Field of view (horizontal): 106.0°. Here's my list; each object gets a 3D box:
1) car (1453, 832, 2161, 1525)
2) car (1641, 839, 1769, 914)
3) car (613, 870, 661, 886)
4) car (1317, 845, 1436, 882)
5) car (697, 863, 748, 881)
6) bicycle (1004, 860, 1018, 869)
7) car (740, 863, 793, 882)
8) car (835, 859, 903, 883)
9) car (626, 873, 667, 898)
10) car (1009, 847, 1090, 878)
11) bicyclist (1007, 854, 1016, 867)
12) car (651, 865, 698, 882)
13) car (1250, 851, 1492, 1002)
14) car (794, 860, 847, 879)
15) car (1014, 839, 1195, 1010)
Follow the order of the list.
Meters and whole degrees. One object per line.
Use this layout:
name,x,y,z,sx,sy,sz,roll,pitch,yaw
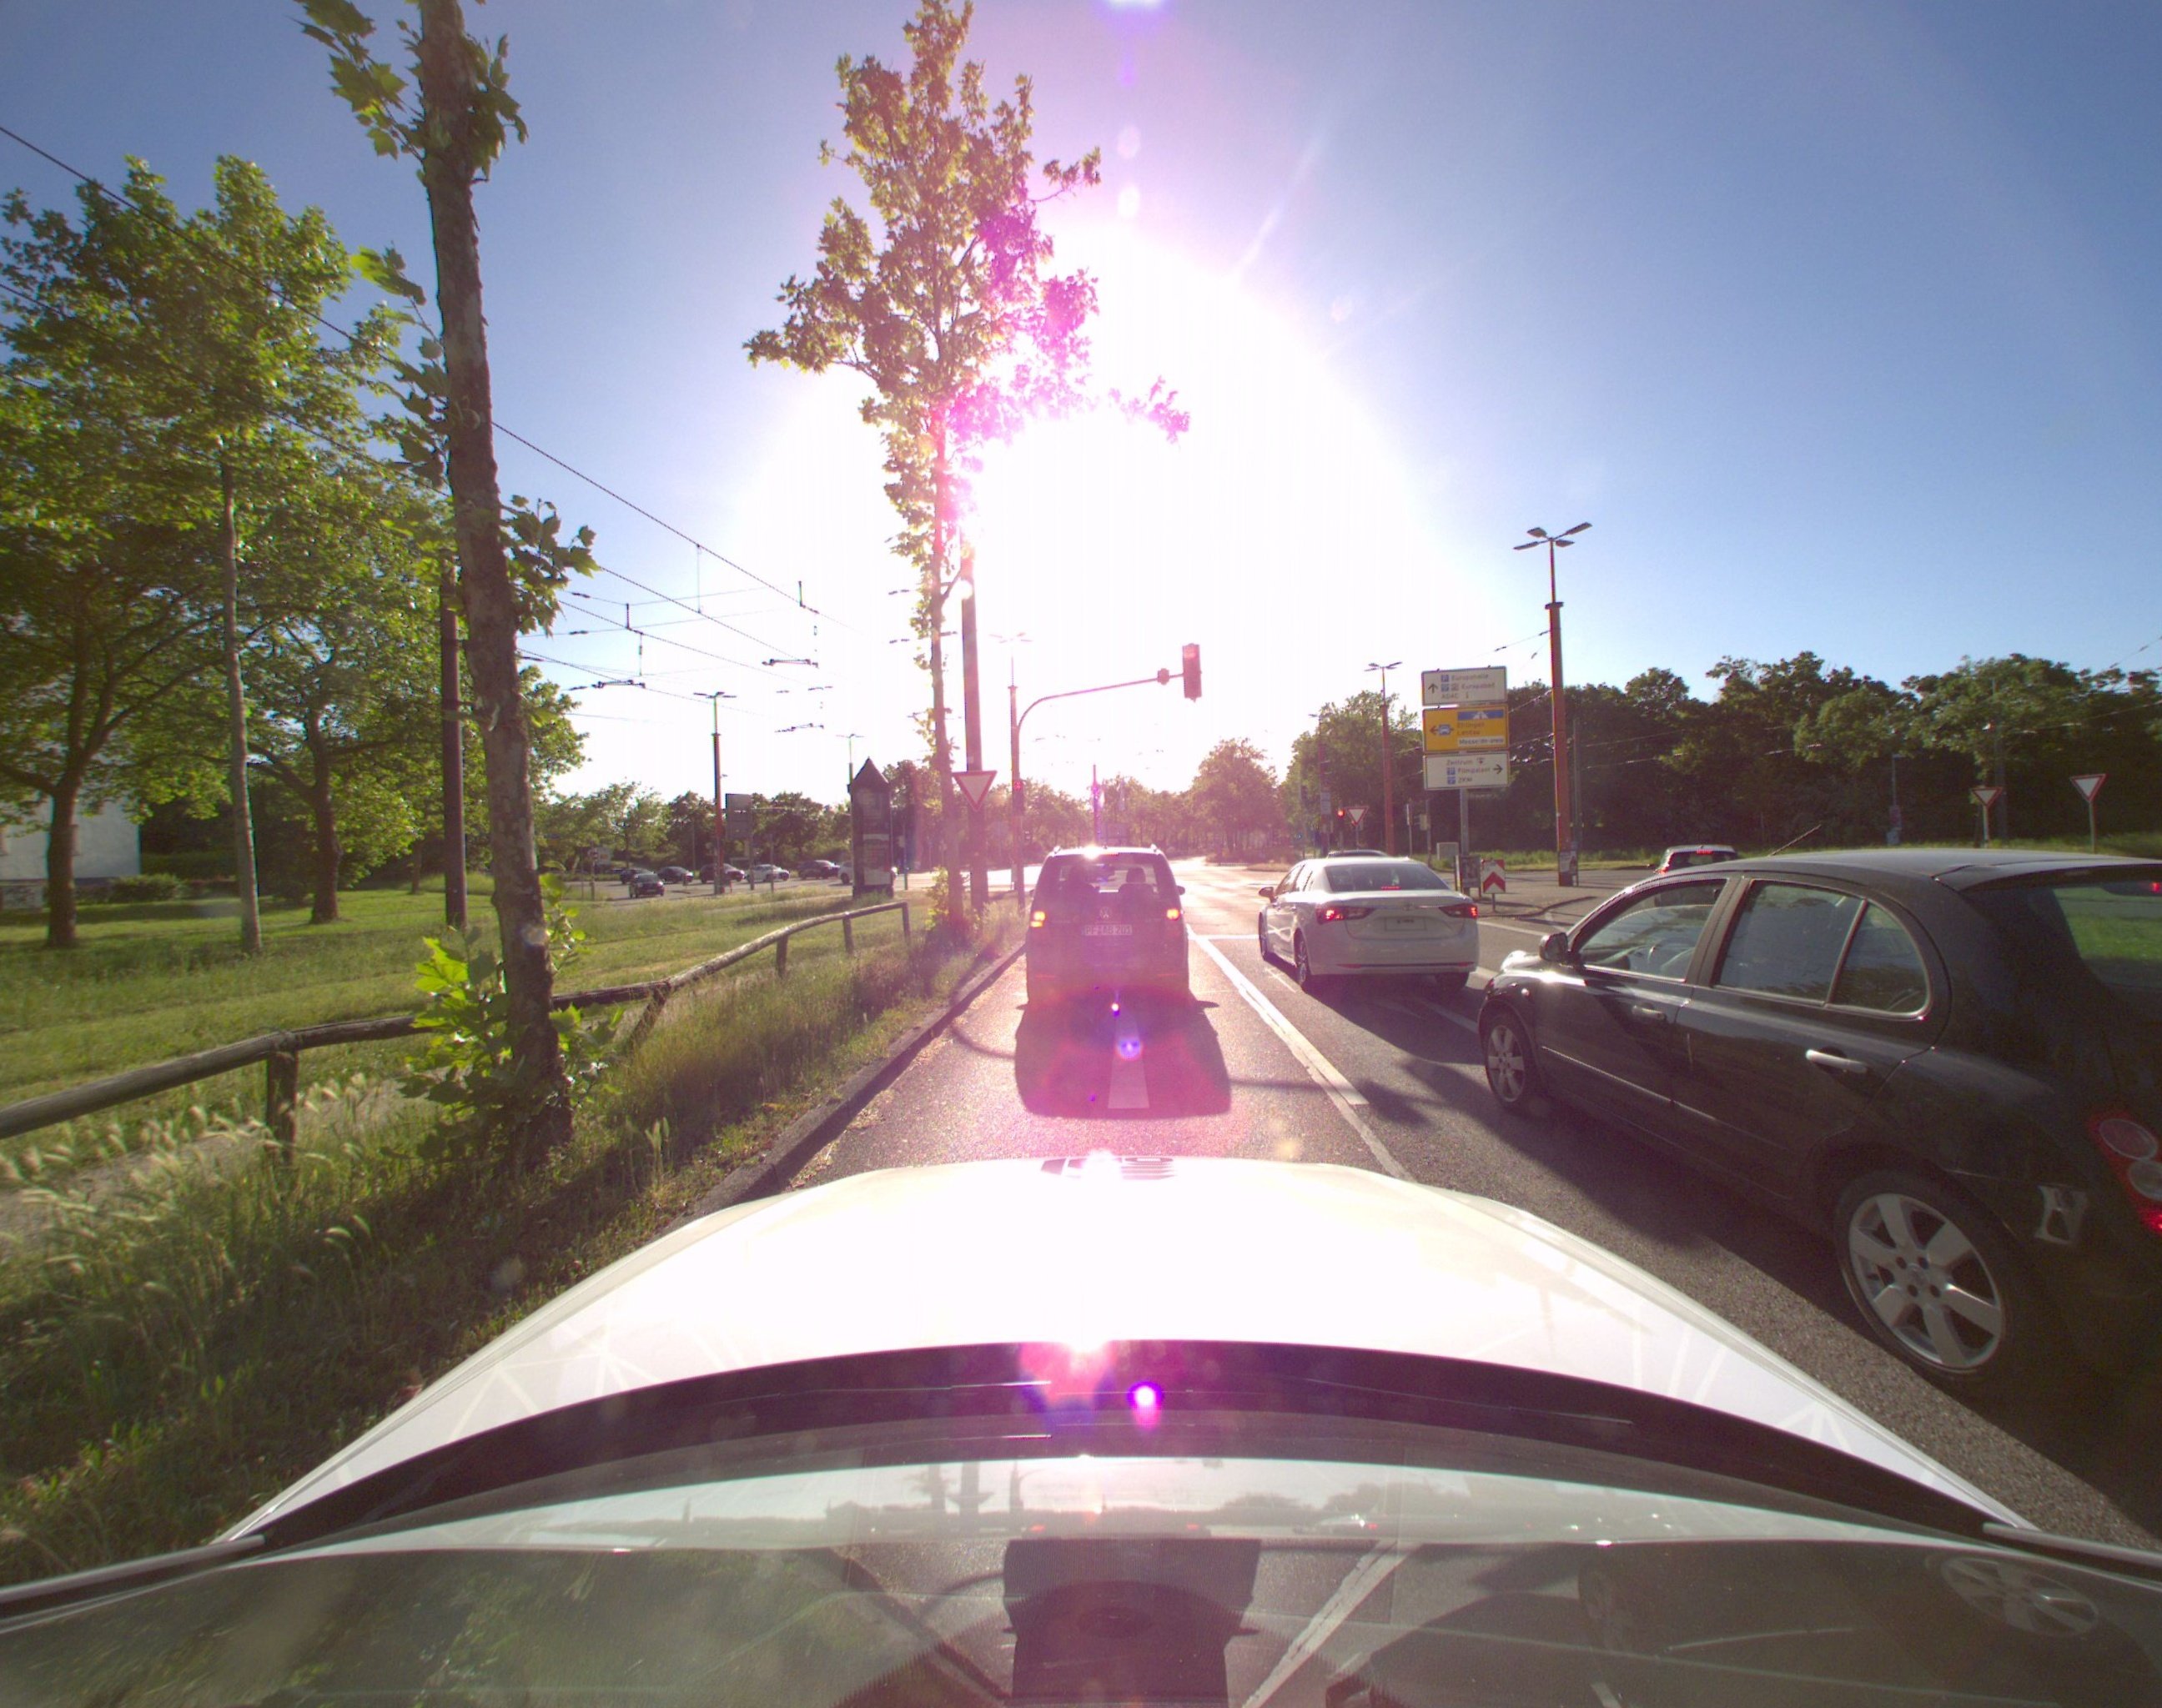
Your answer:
car,3.164,0.694,3.531,1.550,1.506,3.517,-2,0,2
car,13.730,0.440,18.146,1.729,1.469,3.917,-2,0,30
car,-42.352,2.279,77.663,4.187,1.464,1.926,-2,0,28
car,13.709,0.458,37.875,4.867,1.575,2.013,-2,0,30
car,-31.722,1.565,72.090,4.318,1.464,1.926,-2,0,29
bicycle,-8.150,1.226,94.811,0.728,1.090,1.971,-2,0,21
car,-26.740,1.588,69.250,4.169,1.464,1.926,-2,0,29
car,-15.401,1.244,59.022,4.735,1.598,1.926,-2,0,29
car,-27.509,1.964,51.482,1.834,1.420,3.717,-1,0,-35
car,-2.019,0.545,51.157,4.735,1.836,1.926,-2,0,29
bicyclist,-8.119,0.759,95.031,0.686,1.457,0.879,-2,-1,20
car,-37.357,1.770,74.859,4.004,1.464,1.926,-2,0,28
car,3.294,0.720,10.134,1.708,1.454,4.147,-2,0,3
car,-22.539,1.337,70.433,4.169,1.464,1.926,-2,0,29
car,0.293,0.696,10.007,1.731,1.641,4.002,-2,0,2
